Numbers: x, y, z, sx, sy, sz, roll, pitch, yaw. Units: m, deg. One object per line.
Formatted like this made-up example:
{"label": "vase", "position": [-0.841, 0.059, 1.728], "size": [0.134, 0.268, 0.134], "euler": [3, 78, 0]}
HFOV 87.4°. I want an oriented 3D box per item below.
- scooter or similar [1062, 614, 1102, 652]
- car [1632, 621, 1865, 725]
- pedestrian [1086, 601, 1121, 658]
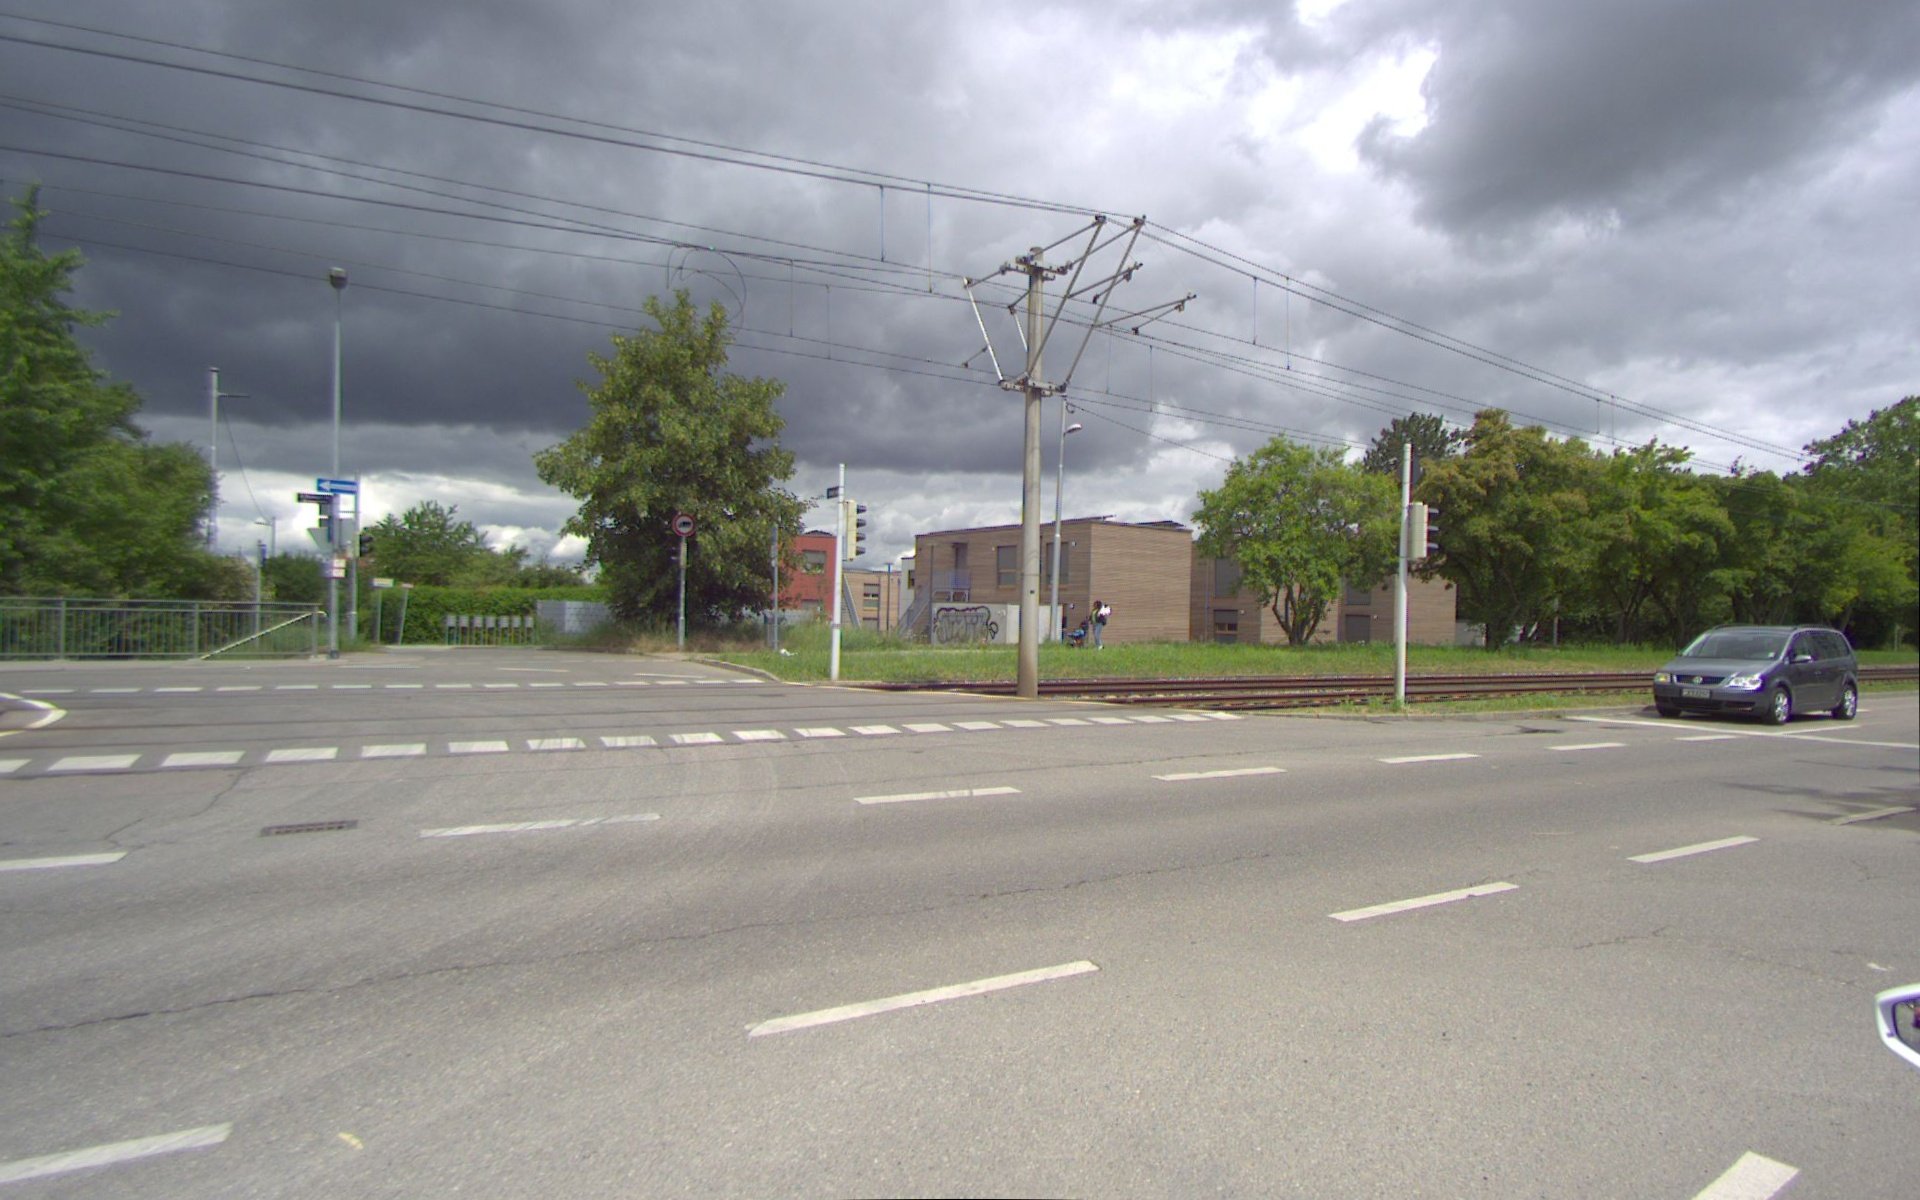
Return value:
{"label": "scooter or similar", "position": [4.025, 1.091, 33.214], "size": [0.960, 1.200, 0.887], "euler": [2, 1, -27]}
{"label": "car", "position": [13.880, 1.227, 17.633], "size": [4.295, 1.590, 1.775], "euler": [2, -1, -31]}
{"label": "pedestrian", "position": [4.792, 0.984, 33.536], "size": [0.798, 1.835, 0.799], "euler": [2, 2, -25]}
